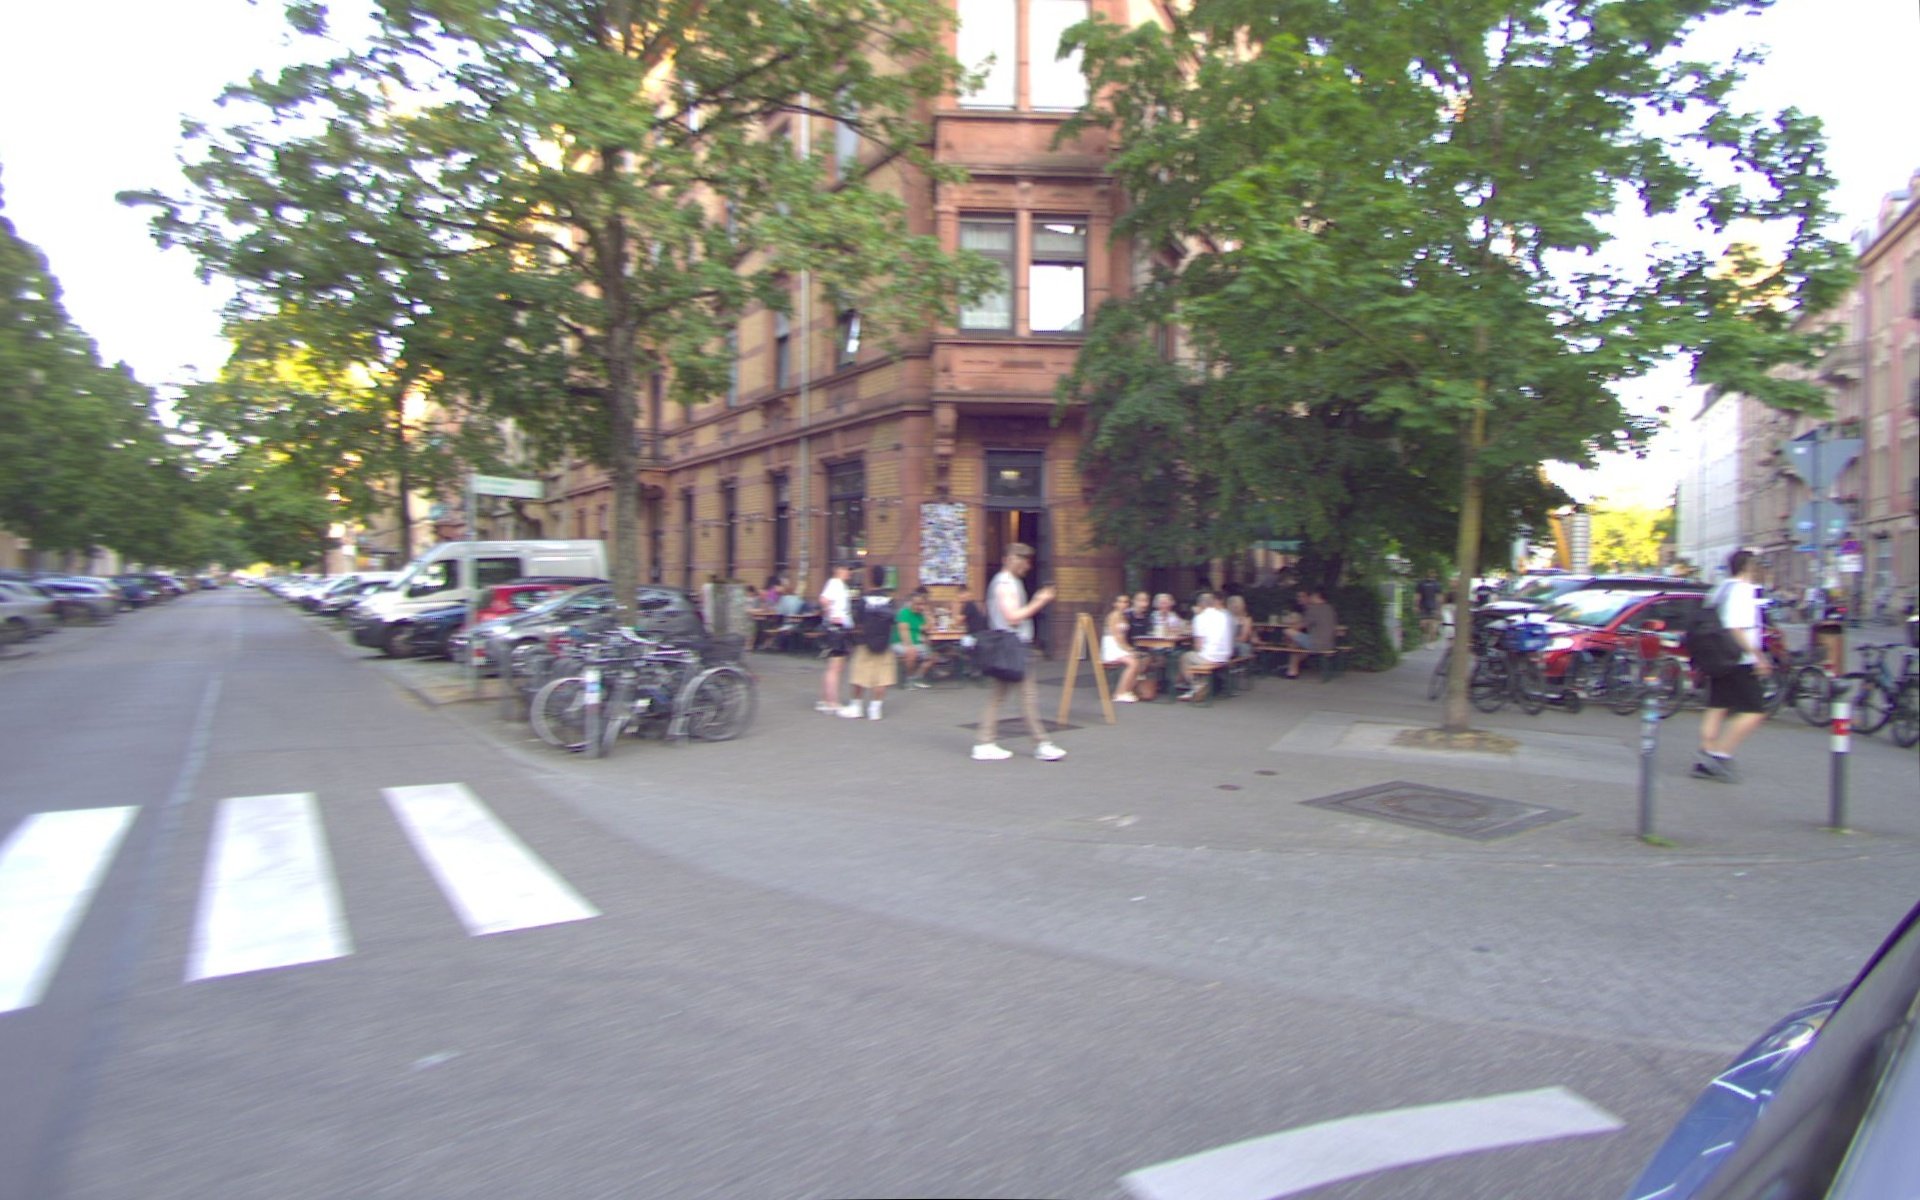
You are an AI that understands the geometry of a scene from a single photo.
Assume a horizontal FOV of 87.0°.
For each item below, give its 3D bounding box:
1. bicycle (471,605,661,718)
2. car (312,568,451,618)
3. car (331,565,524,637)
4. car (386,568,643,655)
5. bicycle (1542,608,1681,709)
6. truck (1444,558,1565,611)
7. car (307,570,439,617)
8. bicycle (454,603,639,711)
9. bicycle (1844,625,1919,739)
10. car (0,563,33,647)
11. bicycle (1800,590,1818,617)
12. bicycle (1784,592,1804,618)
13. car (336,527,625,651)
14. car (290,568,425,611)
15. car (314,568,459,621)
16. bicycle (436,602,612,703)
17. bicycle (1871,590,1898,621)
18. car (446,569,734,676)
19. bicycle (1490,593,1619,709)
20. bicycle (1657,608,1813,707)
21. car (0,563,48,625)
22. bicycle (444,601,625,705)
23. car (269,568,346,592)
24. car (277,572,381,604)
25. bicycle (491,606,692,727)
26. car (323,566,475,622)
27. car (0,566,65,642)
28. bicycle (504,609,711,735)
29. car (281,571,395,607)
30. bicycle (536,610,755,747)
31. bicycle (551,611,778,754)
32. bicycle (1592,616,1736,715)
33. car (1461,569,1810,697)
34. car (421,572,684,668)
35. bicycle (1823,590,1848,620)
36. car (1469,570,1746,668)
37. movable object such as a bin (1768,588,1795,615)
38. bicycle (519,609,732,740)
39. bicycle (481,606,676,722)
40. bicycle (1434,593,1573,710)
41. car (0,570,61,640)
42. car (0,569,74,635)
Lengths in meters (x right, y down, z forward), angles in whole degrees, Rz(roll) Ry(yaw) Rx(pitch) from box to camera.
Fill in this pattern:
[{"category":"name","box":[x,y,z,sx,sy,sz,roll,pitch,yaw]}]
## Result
[{"category":"bicycle","box":[-4.515,0.667,11.720,1.999,1.148,0.435,-2,1,-39]},{"category":"car","box":[-22.515,-0.290,39.451,4.461,1.807,1.999,-2,1,-37]},{"category":"car","box":[-14.672,-0.033,27.988,4.461,1.807,1.999,-2,1,-37]},{"category":"car","box":[-8.957,0.164,20.474,4.458,1.545,2.000,-2,1,-35]},{"category":"bicycle","box":[8.047,0.683,12.597,0.588,1.076,1.768,2,2,2]},{"category":"truck","box":[33.941,-0.944,63.194,6.454,3.115,2.495,-1,1,33]},{"category":"car","box":[-23.907,-0.290,41.291,4.461,1.807,1.999,-2,1,-37]},{"category":"bicycle","box":[-4.906,0.635,12.115,1.999,1.148,0.435,-2,1,-39]},{"category":"bicycle","box":[10.038,0.843,10.897,0.361,1.077,1.539,-1,1,25]},{"category":"car","box":[-22.181,0.161,20.604,1.972,1.807,4.522,-1,1,16]},{"category":"bicycle","box":[38.261,0.149,45.596,0.464,1.169,1.975,-1,1,36]},{"category":"bicycle","box":[37.176,0.224,45.122,0.463,1.081,1.503,-1,1,32]},{"category":"car","box":[-10.548,-0.288,22.511,5.443,2.451,2.244,-2,1,-38]},{"category":"car","box":[-27.482,-0.492,46.250,5.103,1.807,1.999,-2,1,-37]},{"category":"car","box":[-21.242,-0.240,37.558,4.461,1.807,1.999,-2,1,-37]},{"category":"bicycle","box":[-5.512,0.627,12.889,1.999,1.148,0.435,-2,1,-39]},{"category":"bicycle","box":[37.301,0.203,40.849,0.409,1.174,1.818,-1,1,30]},{"category":"car","box":[-6.189,0.300,17.071,4.211,1.545,1.911,-2,1,-35]},{"category":"bicycle","box":[7.288,0.576,12.496,0.588,1.304,1.768,-1,1,3]},{"category":"bicycle","box":[9.967,0.723,13.057,1.530,1.175,0.363,2,1,16]},{"category":"car","box":[-29.363,-0.146,28.921,1.974,1.807,4.518,-1,1,18]},{"category":"bicycle","box":[-5.221,0.610,12.511,1.999,1.148,0.435,-2,1,-39]},{"category":"car","box":[-52.961,-1.616,82.178,5.103,1.807,1.999,-2,1,-37]},{"category":"car","box":[-37.688,-0.744,60.479,5.103,1.807,1.999,-2,1,-37]},{"category":"bicycle","box":[-3.940,0.671,10.945,1.999,1.148,0.435,-2,1,-39]},{"category":"car","box":[-19.821,-0.243,35.834,4.461,1.807,1.999,-2,1,-37]},{"category":"car","box":[-24.032,0.135,23.501,1.972,1.807,4.522,-1,1,16]},{"category":"bicycle","box":[-3.639,0.703,10.586,1.999,1.148,0.435,-2,1,-39]},{"category":"car","box":[-33.478,-0.635,54.533,5.103,1.807,1.999,-2,1,-37]},{"category":"bicycle","box":[-2.997,0.710,9.820,1.999,1.148,0.435,-2,1,-39]},{"category":"bicycle","box":[-2.691,0.710,9.407,1.999,1.148,0.435,-2,1,-39]},{"category":"bicycle","box":[8.670,0.767,12.555,0.588,1.077,1.768,-1,1,3]},{"category":"car","box":[9.824,0.455,14.913,3.970,1.648,1.694,2,0,-2]},{"category":"car","box":[-7.517,0.300,18.789,4.211,1.545,1.911,-2,1,-35]},{"category":"bicycle","box":[36.208,0.210,41.856,0.409,1.174,1.818,-1,1,30]},{"category":"car","box":[12.556,0.330,19.806,4.141,1.642,1.935,3,1,-3]},{"category":"movable object such as a bin","box":[39.331,0.068,48.452,0.883,1.266,0.768,-1,1,30]},{"category":"bicycle","box":[-3.325,0.703,10.210,1.999,1.148,0.435,-2,1,-39]},{"category":"bicycle","box":[-4.229,0.671,11.332,1.999,1.148,0.435,-2,1,-39]},{"category":"bicycle","box":[6.507,0.572,12.228,0.587,1.304,1.725,0,1,-7]},{"category":"car","box":[-25.791,0.161,25.364,1.974,1.807,4.518,-1,1,18]},{"category":"car","box":[-27.292,0.085,27.467,1.974,1.807,4.518,-1,1,18]}]
